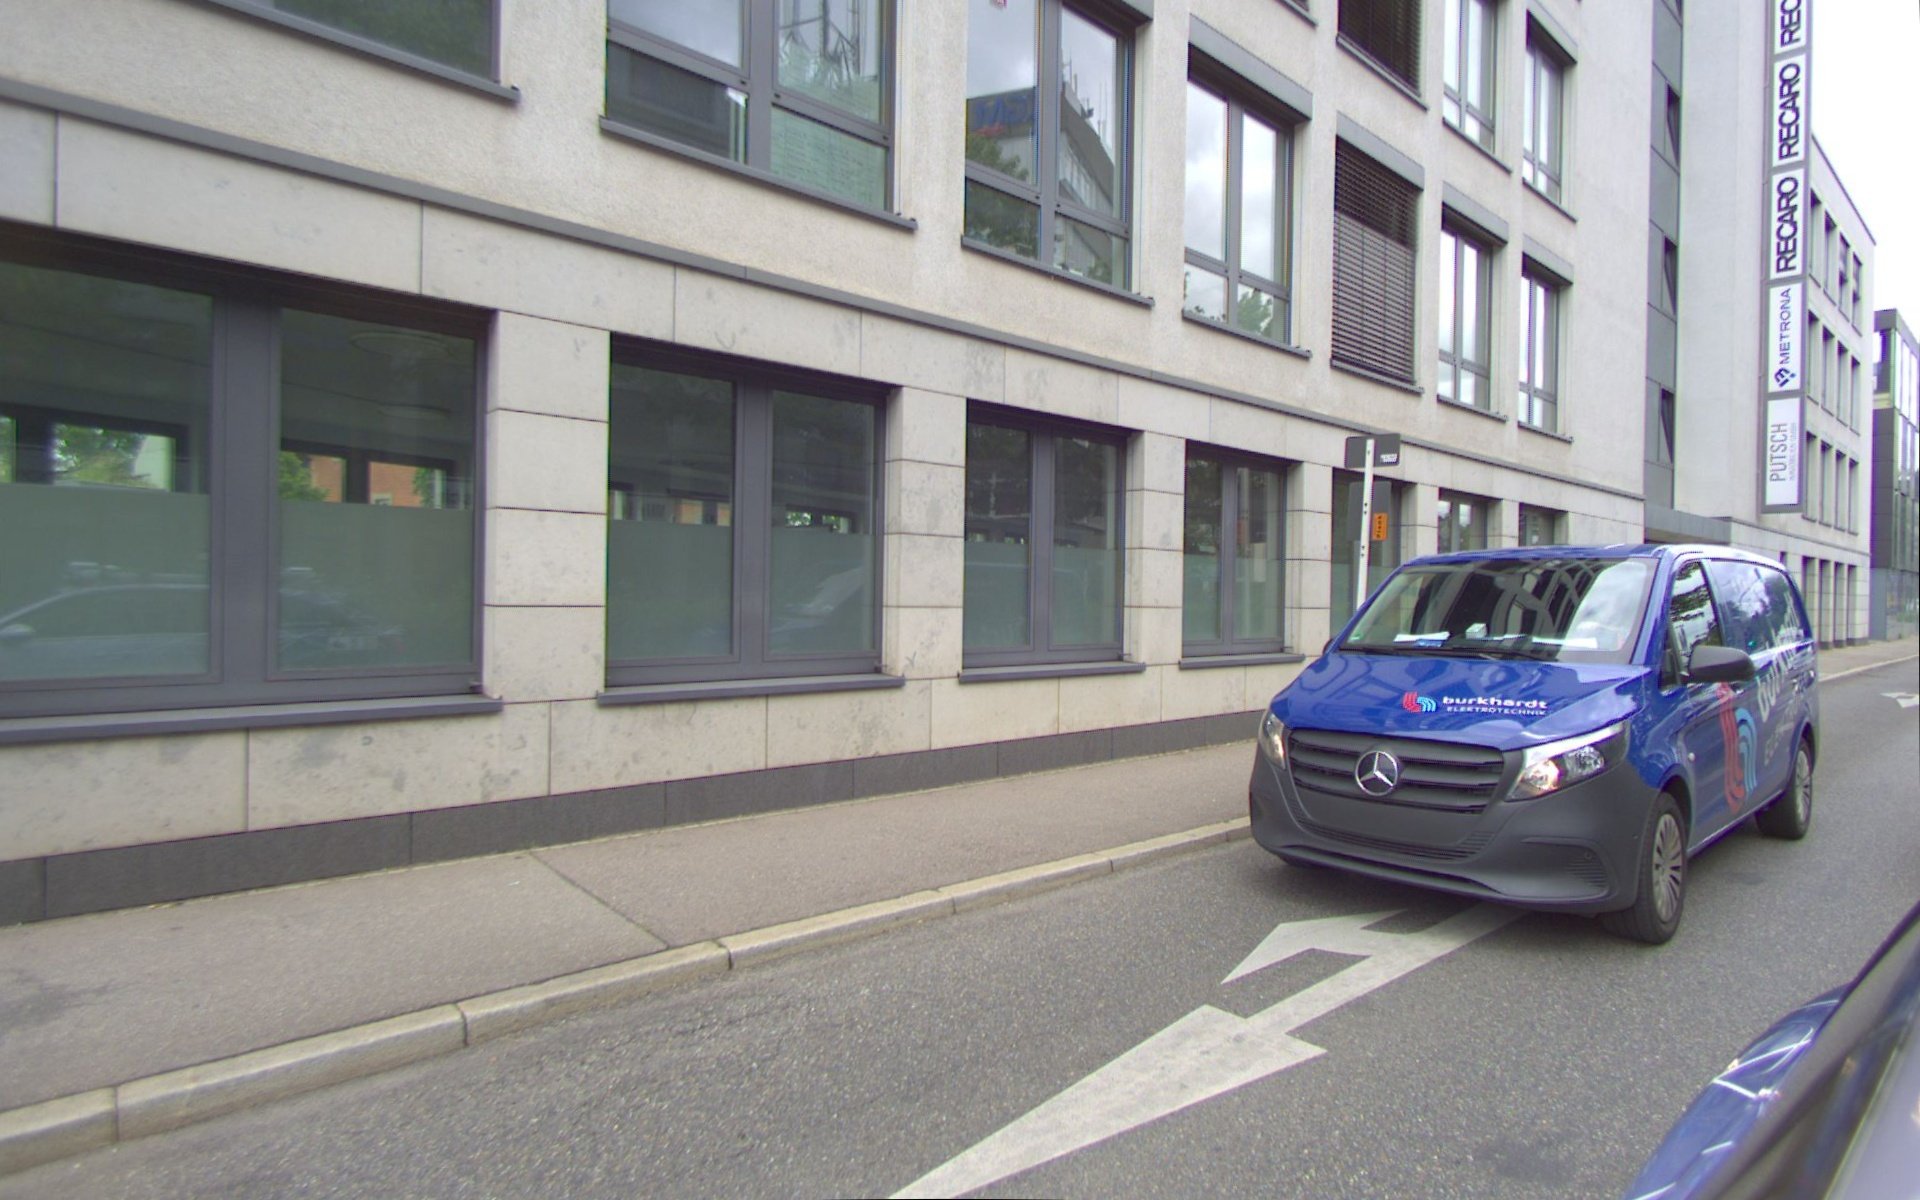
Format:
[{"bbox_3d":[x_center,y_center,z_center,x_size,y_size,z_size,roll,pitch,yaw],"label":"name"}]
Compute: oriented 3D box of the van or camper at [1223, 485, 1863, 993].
[{"bbox_3d":[3.850,0.509,6.188,4.944,1.935,1.863,0,1,-41],"label":"van or camper"}]
